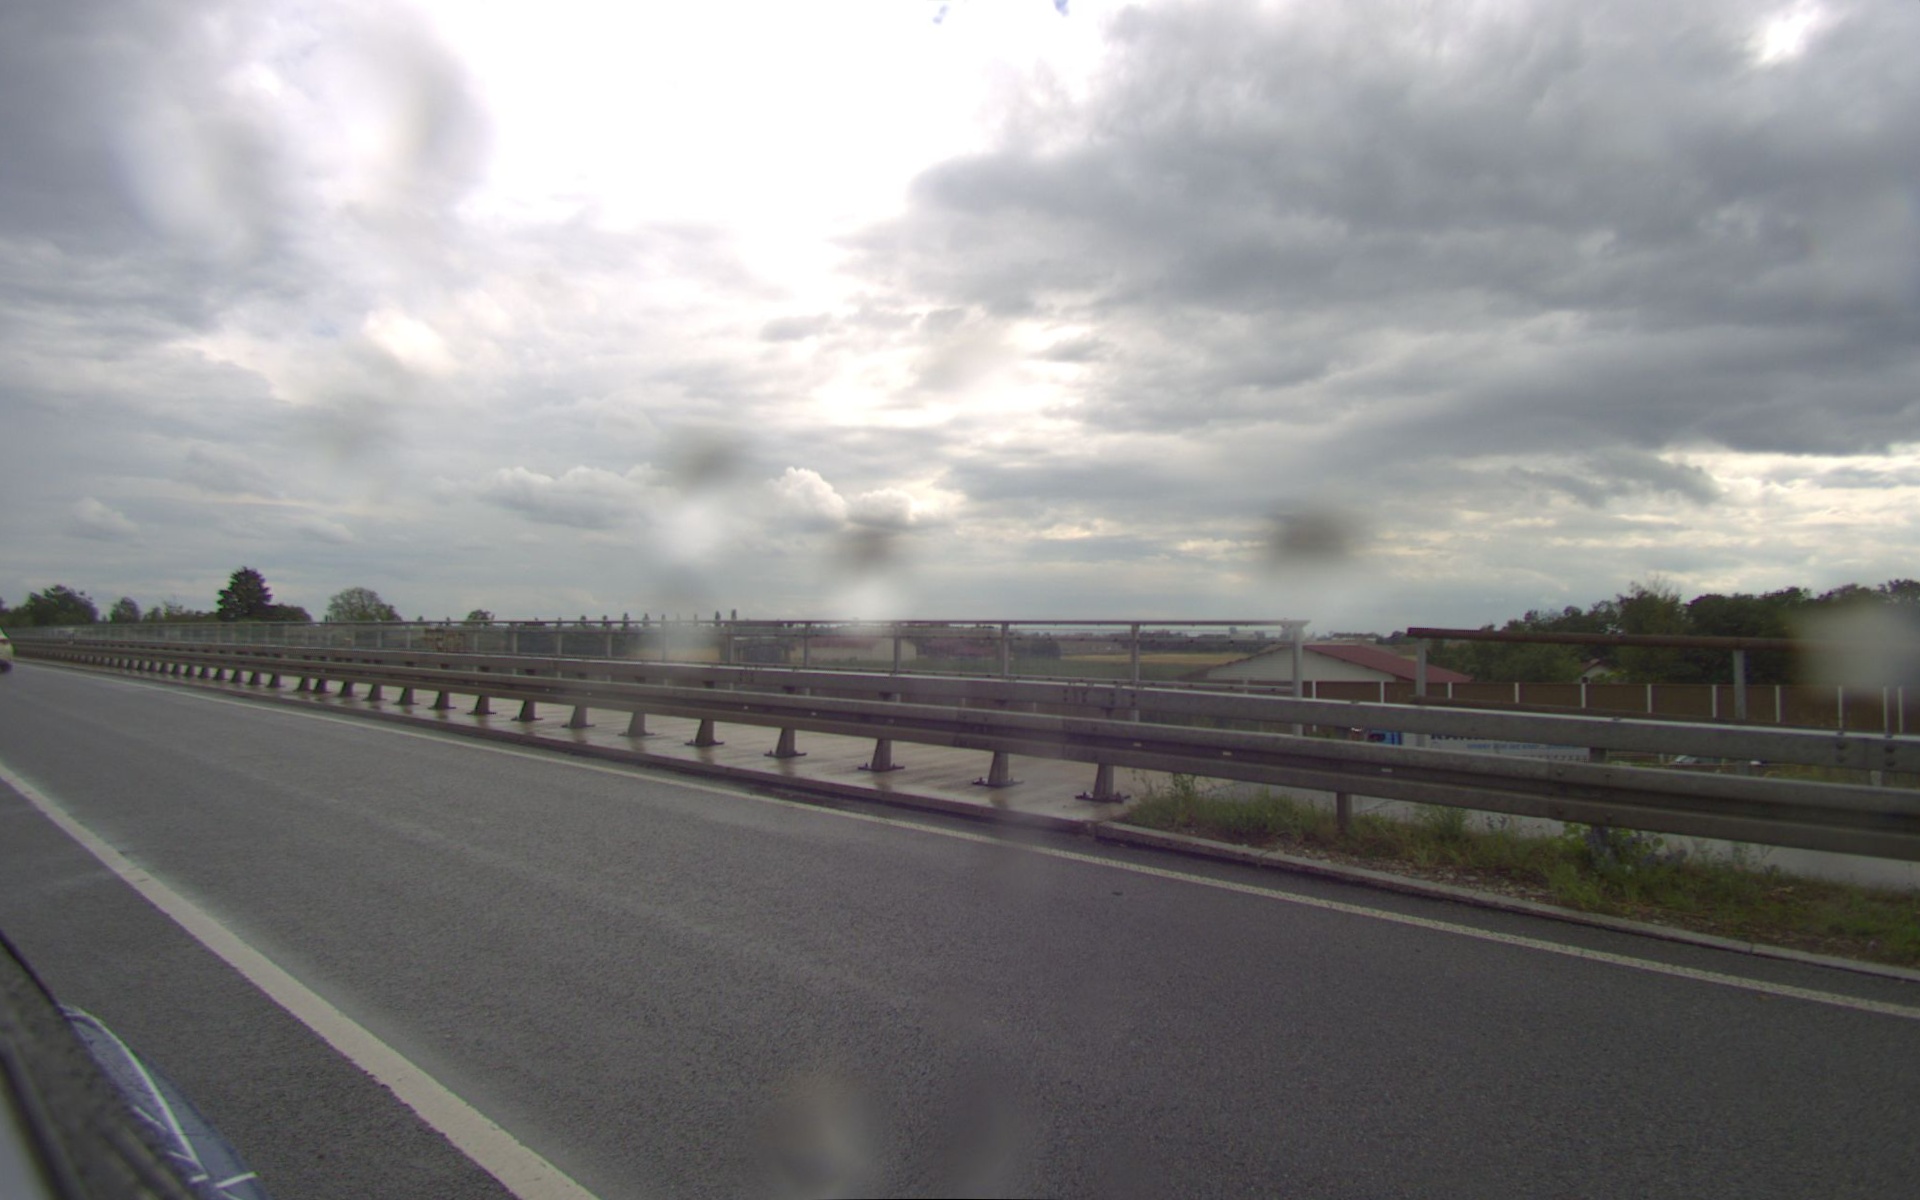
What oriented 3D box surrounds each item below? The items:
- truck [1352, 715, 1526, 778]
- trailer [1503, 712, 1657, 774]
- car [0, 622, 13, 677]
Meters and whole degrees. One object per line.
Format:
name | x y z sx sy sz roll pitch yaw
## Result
truck | 33.186 10.128 70.292 11.004 3.791 2.439 -1 -1 -3
trailer | 43.323 9.984 70.854 9.318 3.791 2.439 -1 -1 -3
car | -28.852 1.431 29.202 4.608 1.521 1.791 -2 -1 41
